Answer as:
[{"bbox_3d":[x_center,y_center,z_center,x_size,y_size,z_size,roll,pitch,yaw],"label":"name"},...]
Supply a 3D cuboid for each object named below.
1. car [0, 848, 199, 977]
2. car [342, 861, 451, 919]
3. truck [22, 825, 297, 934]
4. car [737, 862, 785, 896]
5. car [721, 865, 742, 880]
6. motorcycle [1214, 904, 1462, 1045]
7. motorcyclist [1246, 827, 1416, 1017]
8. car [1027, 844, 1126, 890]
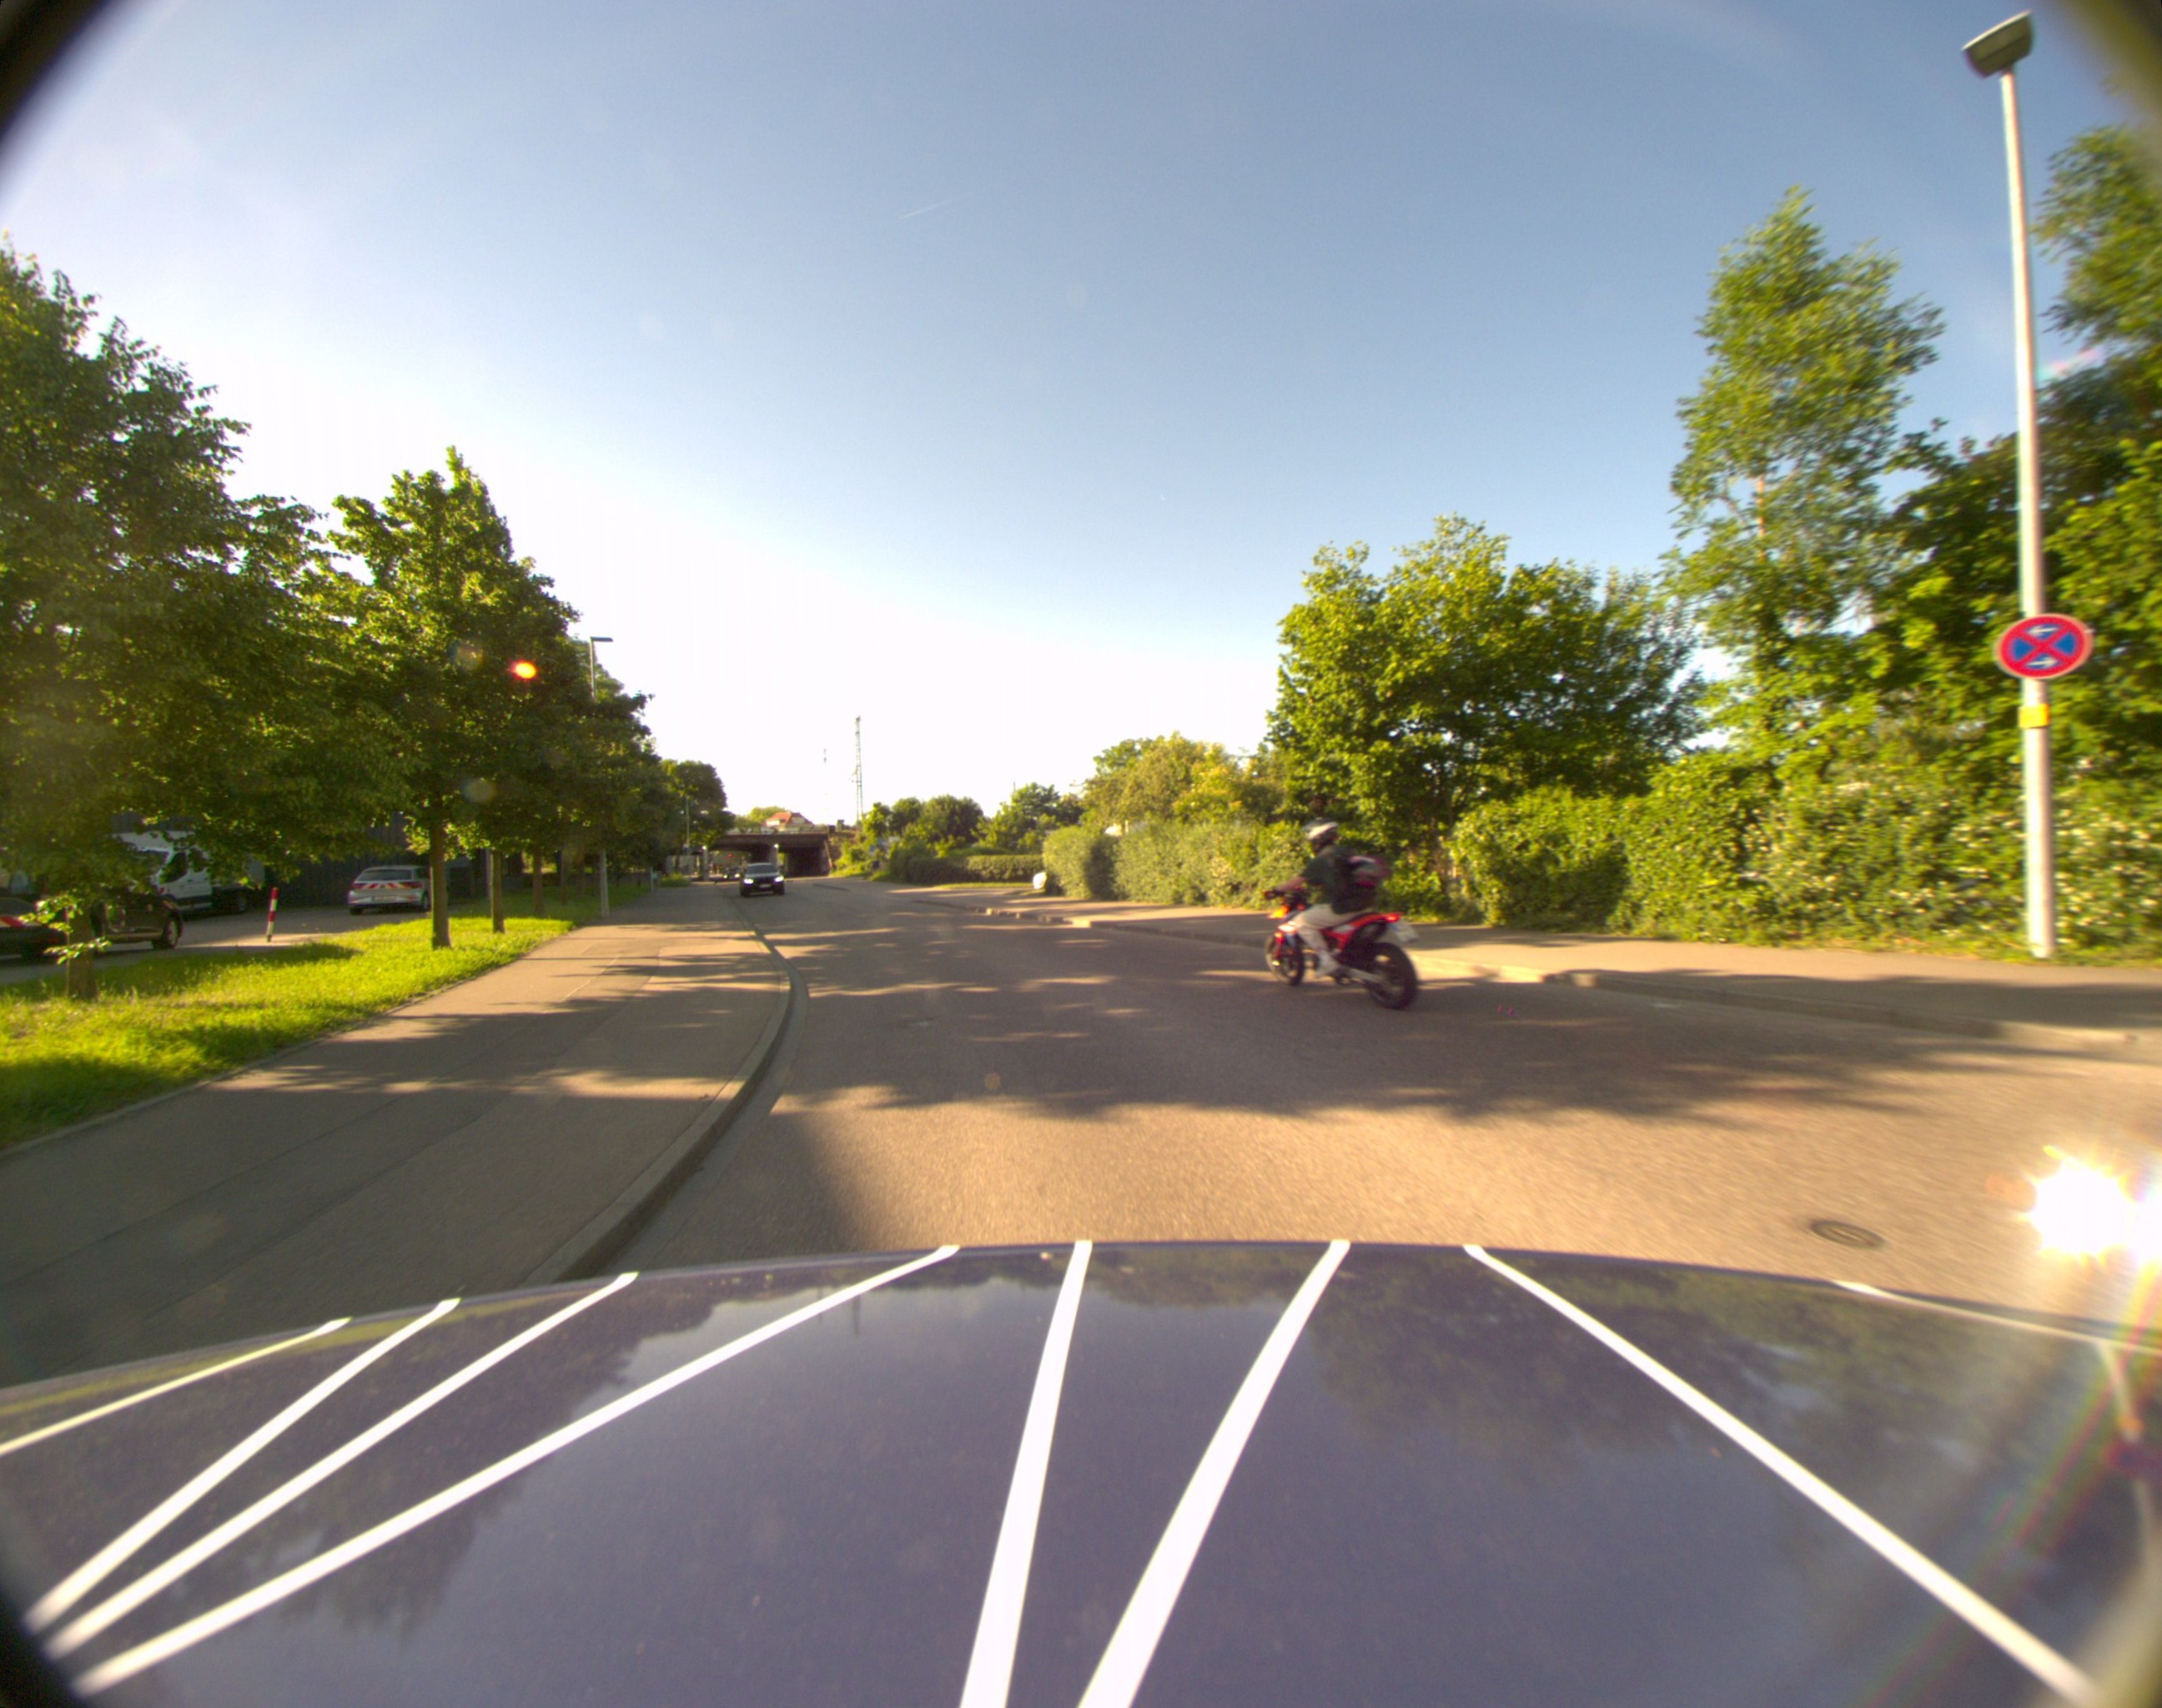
[{"bbox_3d":[-16.954,0.888,12.529,1.904,1.847,4.230,-1,0,-32],"label":"car"},{"bbox_3d":[-21.411,1.067,23.936,1.780,1.477,3.641,-1,3,-30],"label":"car"},{"bbox_3d":[-26.657,0.645,22.502,2.581,2.676,6.405,-3,1,-25],"label":"truck"},{"bbox_3d":[-17.087,1.268,40.424,2.041,1.623,4.604,-3,1,-26],"label":"car"},{"bbox_3d":[-42.179,2.187,91.787,2.040,1.623,4.605,-3,1,-23],"label":"car"},{"bbox_3d":[2.315,1.043,7.253,0.836,0.966,2.295,-2,0,-27],"label":"motorcycle"},{"bbox_3d":[2.329,0.578,7.188,0.868,1.602,1.239,-2,1,-27],"label":"motorcyclist"},{"bbox_3d":[-0.142,0.529,32.743,3.995,1.772,2.000,-2,1,5],"label":"car"}]
